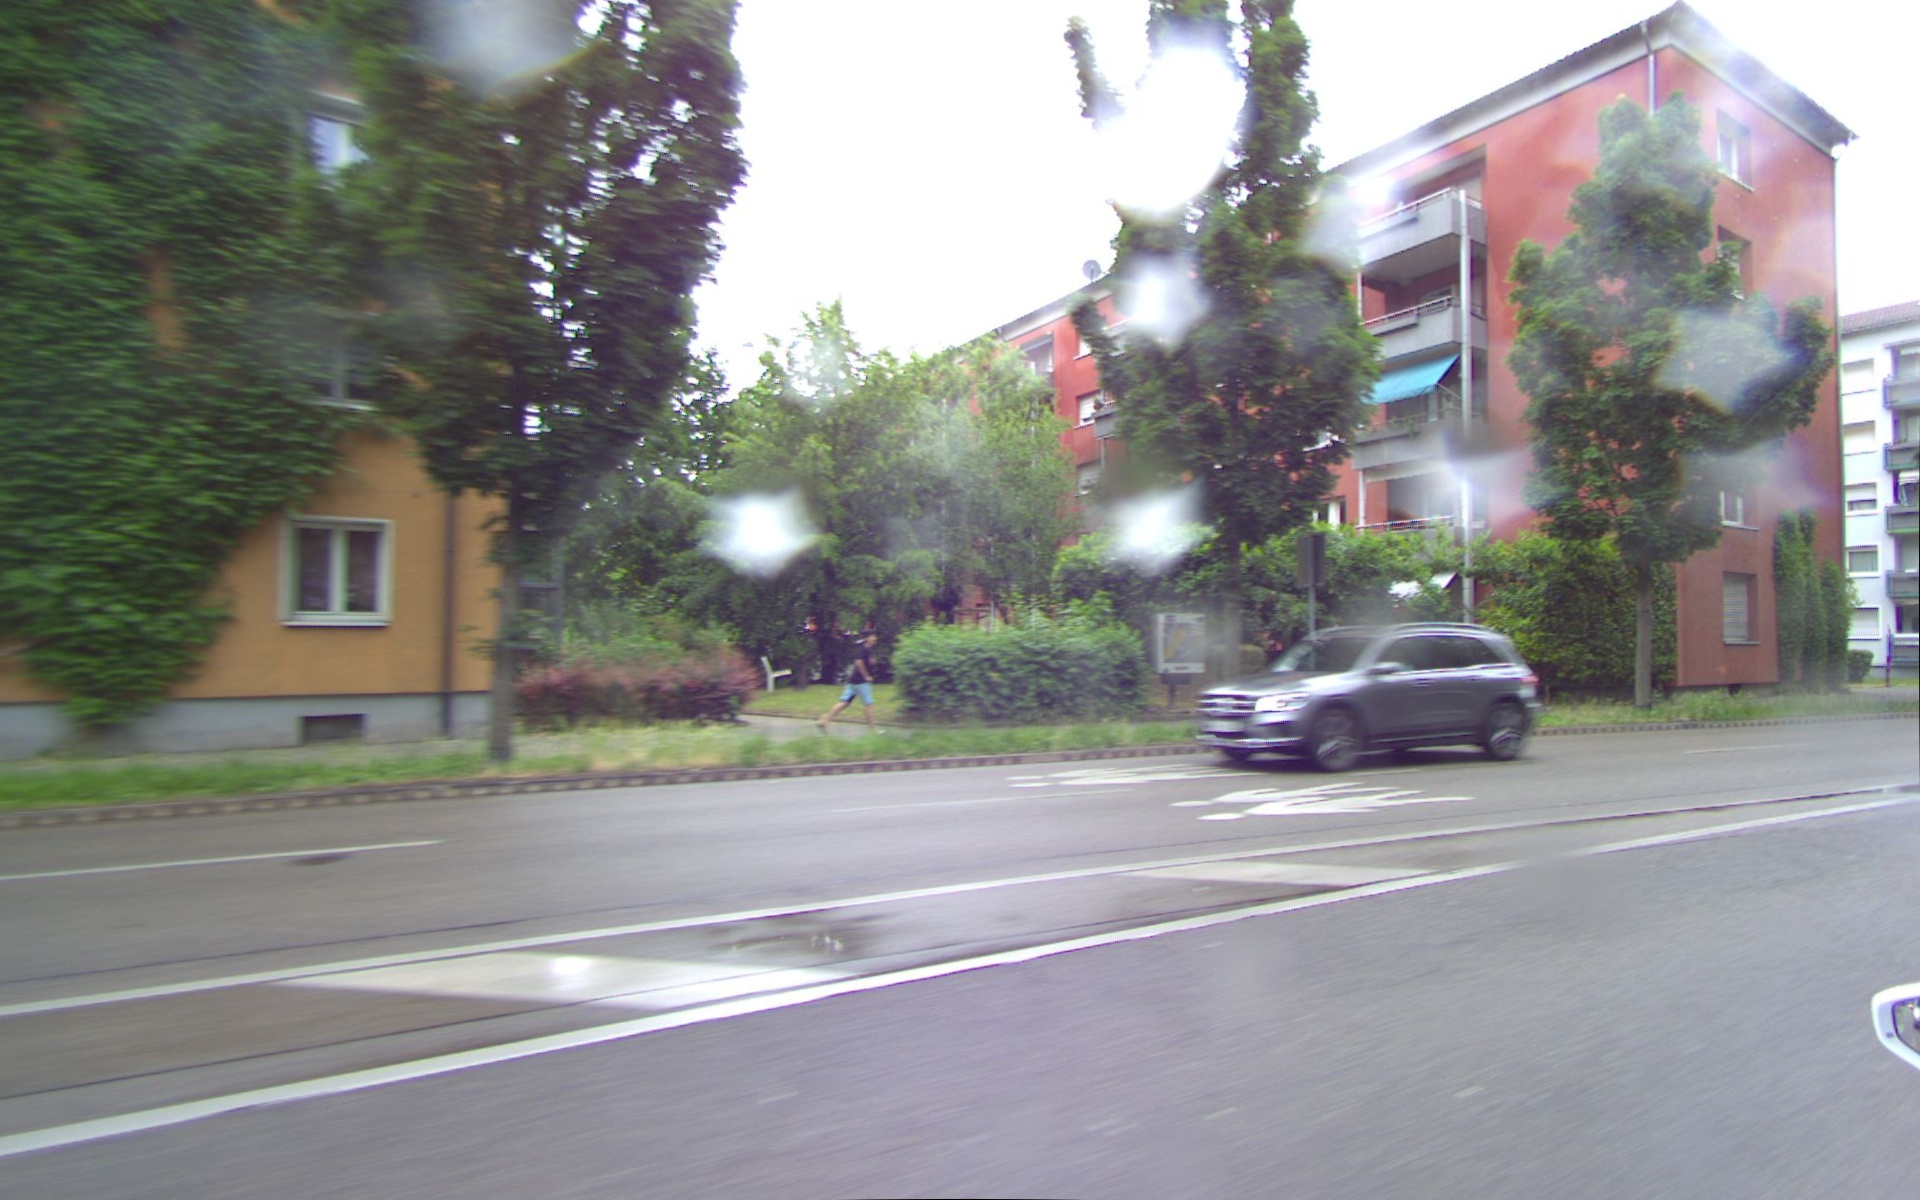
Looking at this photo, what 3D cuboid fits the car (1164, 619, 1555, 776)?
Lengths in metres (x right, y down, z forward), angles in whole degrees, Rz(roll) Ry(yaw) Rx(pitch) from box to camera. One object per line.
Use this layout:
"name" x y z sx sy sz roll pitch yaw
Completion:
"car" 4.938 1.114 12.432 4.438 1.652 1.918 1 -4 -24

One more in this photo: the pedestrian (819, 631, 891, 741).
"pedestrian" -1.468 1.174 14.003 0.825 1.468 0.669 1 -2 -26

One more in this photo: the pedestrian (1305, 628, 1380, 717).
"pedestrian" 6.758 1.263 17.767 1.055 1.537 0.690 1 -2 -26
